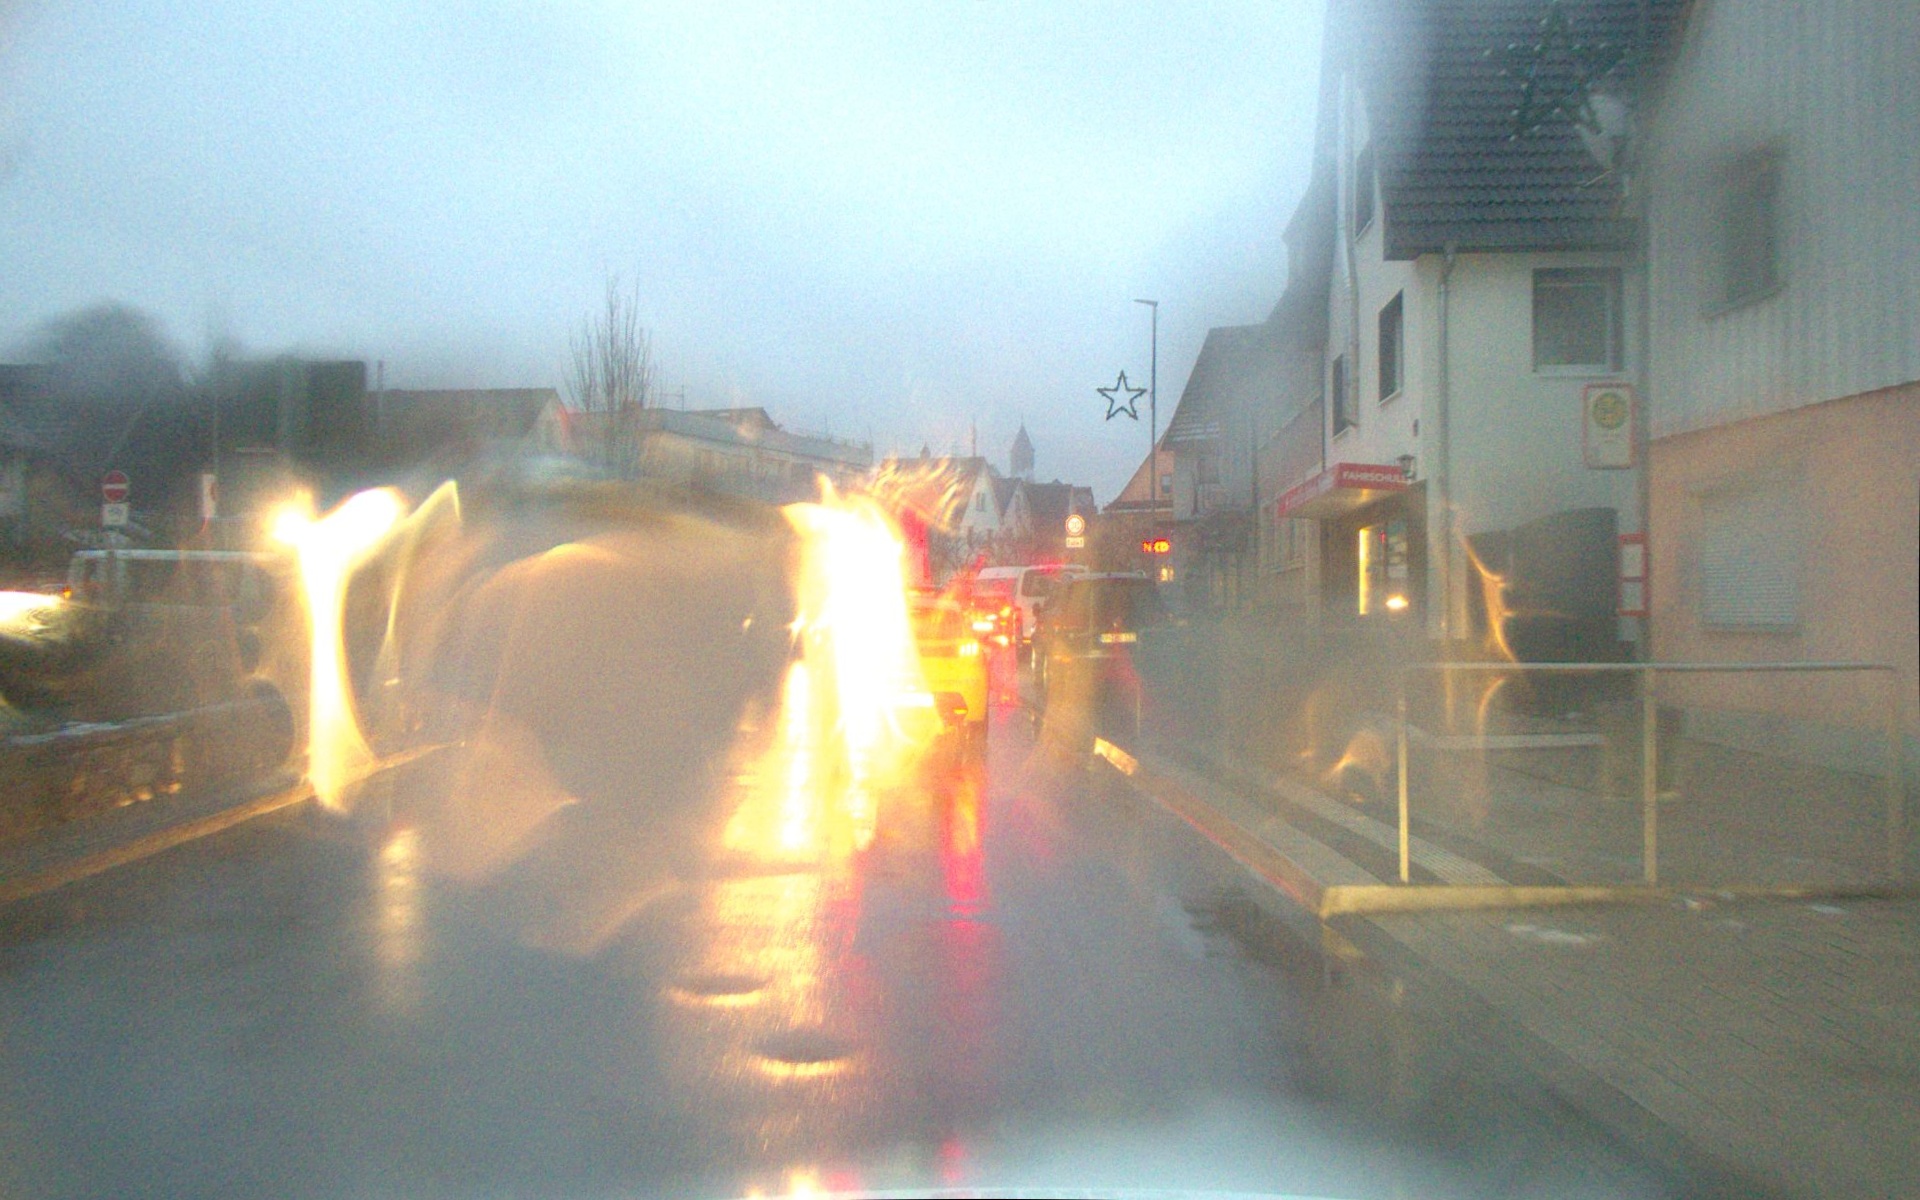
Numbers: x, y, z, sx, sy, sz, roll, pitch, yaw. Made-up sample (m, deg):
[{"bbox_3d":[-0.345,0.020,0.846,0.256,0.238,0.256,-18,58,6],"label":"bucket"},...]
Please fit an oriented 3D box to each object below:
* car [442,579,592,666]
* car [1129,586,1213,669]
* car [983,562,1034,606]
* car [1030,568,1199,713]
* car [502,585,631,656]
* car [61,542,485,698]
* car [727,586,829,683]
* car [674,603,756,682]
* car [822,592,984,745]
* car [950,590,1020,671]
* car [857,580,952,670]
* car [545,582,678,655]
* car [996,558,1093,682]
[{"bbox_3d":[-12.485,0.634,46.492,4.307,2.291,1.988,-1,-3,42],"label":"car"},{"bbox_3d":[6.225,0.864,49.135,1.953,2.288,3.999,2,-2,0],"label":"car"},{"bbox_3d":[1.977,-0.625,66.728,1.455,1.553,3.417,1,-2,12],"label":"car"},{"bbox_3d":[2.160,0.563,24.192,1.957,1.897,4.081,-1,-1,-1],"label":"car"},{"bbox_3d":[-12.007,0.637,50.346,4.095,2.011,1.811,-1,-3,43],"label":"car"},{"bbox_3d":[-9.428,0.253,22.793,5.281,1.849,1.713,2,-1,12],"label":"car"},{"bbox_3d":[-4.299,0.868,39.636,1.953,2.149,3.999,2,-2,-1],"label":"car"},{"bbox_3d":[-6.861,1.224,46.647,1.881,2.063,3.971,2,-2,-4],"label":"car"},{"bbox_3d":[-0.597,0.665,17.571,1.531,1.437,3.016,2,0,-2],"label":"car"},{"bbox_3d":[0.725,0.962,49.706,1.953,2.291,3.999,2,-2,0],"label":"car"},{"bbox_3d":[-1.053,0.471,32.976,1.730,1.657,3.586,2,0,0],"label":"car"},{"bbox_3d":[-11.203,0.606,53.047,4.308,2.204,1.987,-1,-3,43],"label":"car"},{"bbox_3d":[1.802,0.500,36.520,1.832,2.512,4.442,2,-2,0],"label":"car"}]
